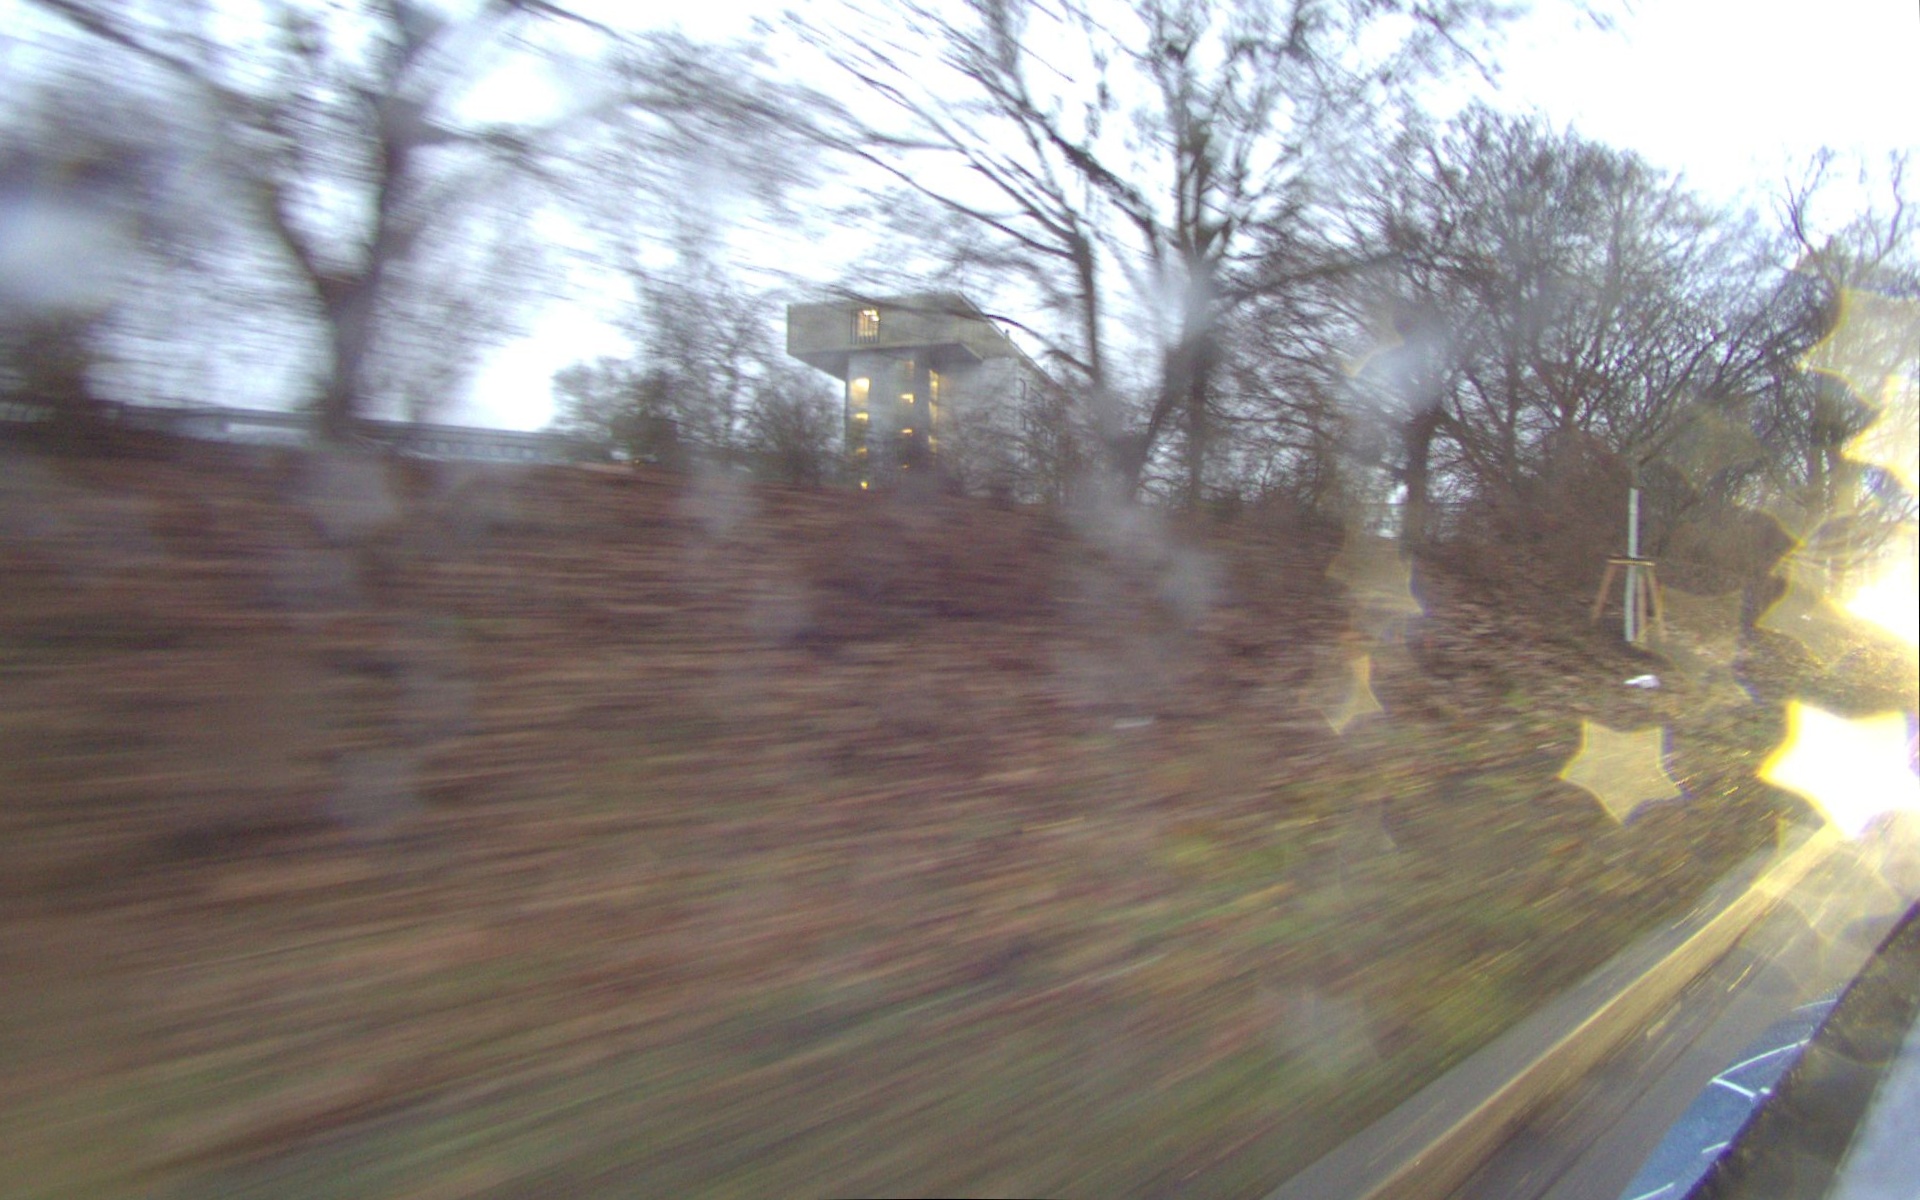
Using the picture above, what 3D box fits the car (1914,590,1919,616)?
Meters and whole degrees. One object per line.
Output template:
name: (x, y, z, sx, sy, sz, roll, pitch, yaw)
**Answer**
car: (58.647, 0.158, 60.514, 1.941, 1.575, 4.158, 0, 0, 39)
